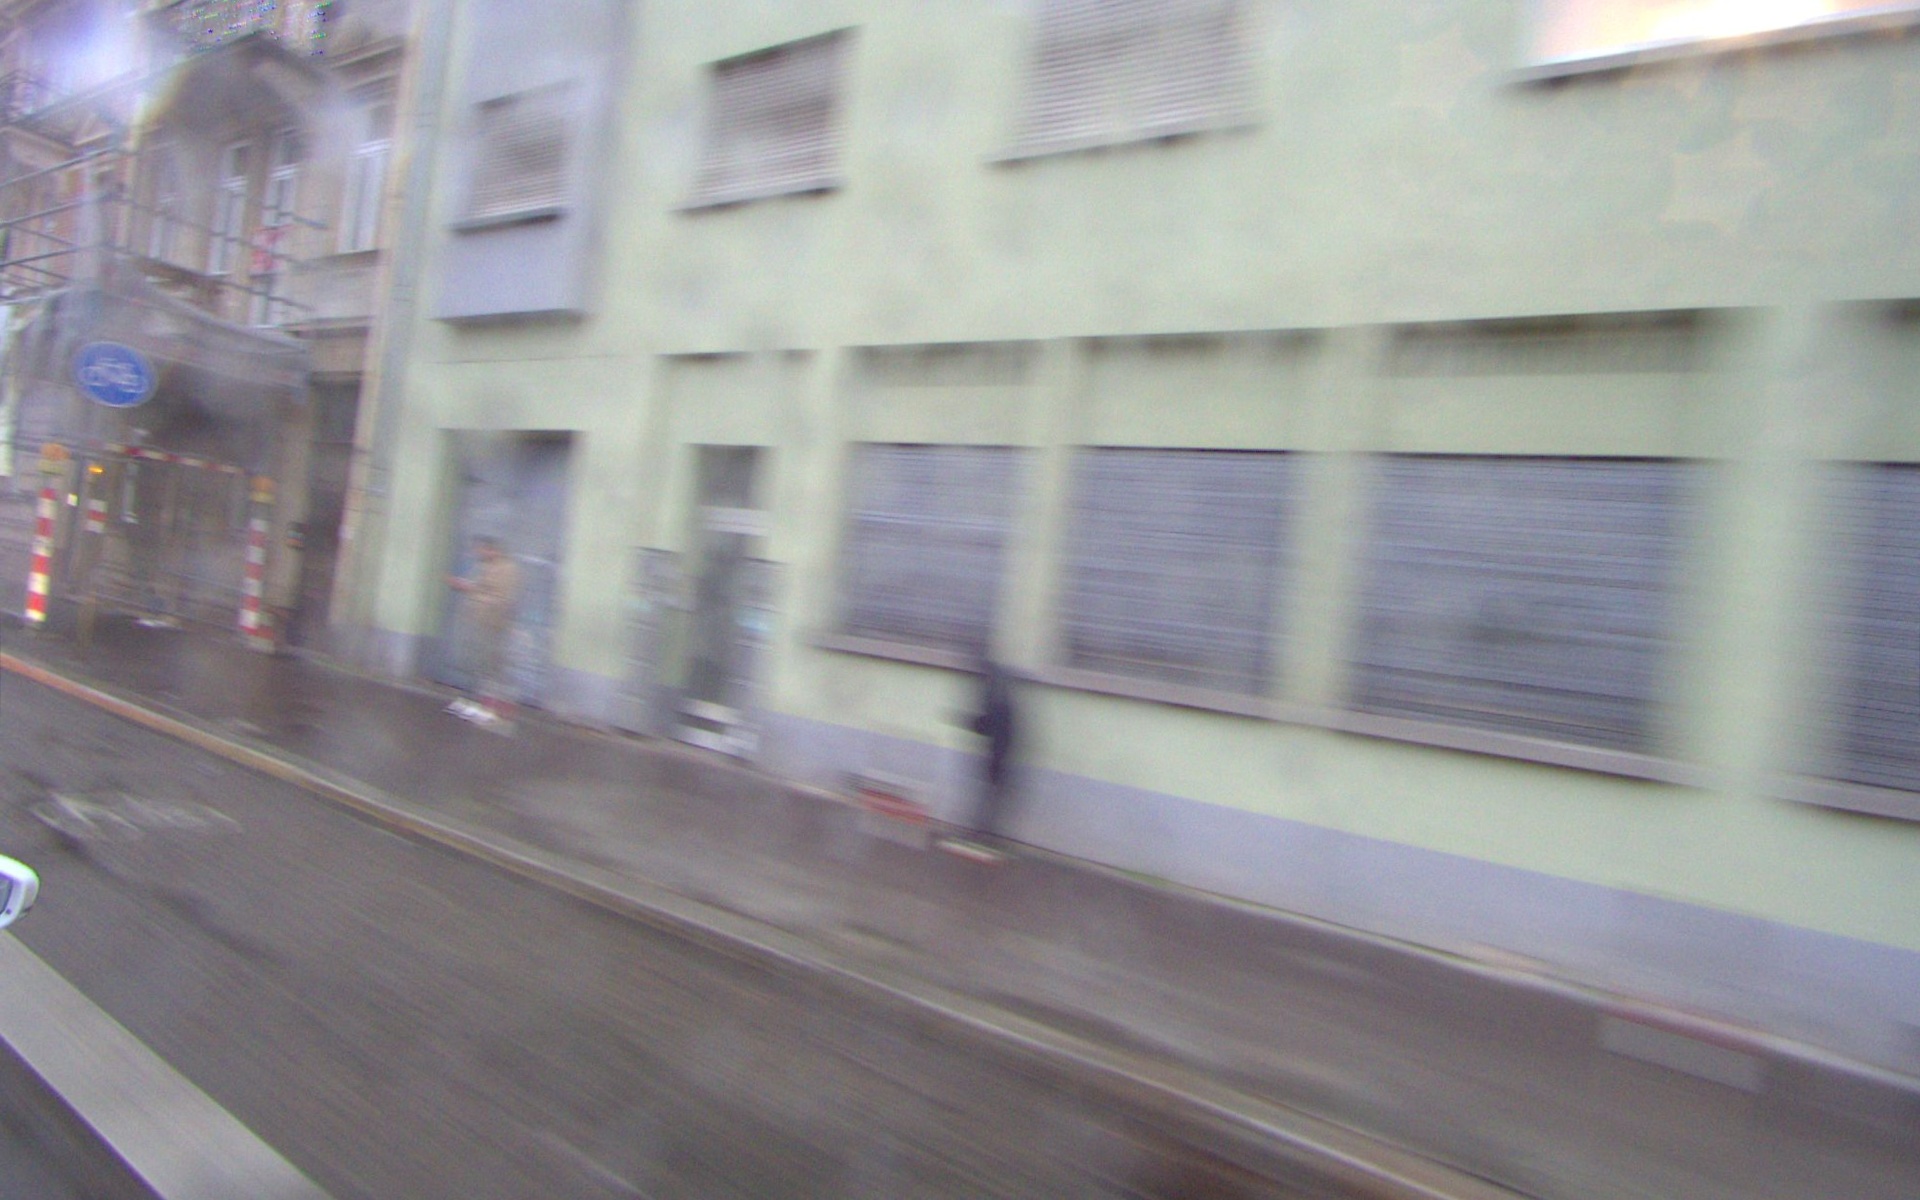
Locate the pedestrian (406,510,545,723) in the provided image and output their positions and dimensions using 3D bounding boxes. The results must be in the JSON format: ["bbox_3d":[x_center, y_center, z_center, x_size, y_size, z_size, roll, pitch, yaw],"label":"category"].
[{"bbox_3d":[-4.515,0.158,9.407,0.761,1.839,0.601,7,-1,4],"label":"pedestrian"}]

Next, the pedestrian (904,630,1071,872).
[{"bbox_3d":[0.185,0.949,6.515,0.716,1.392,0.601,6,-1,31],"label":"pedestrian"}]
